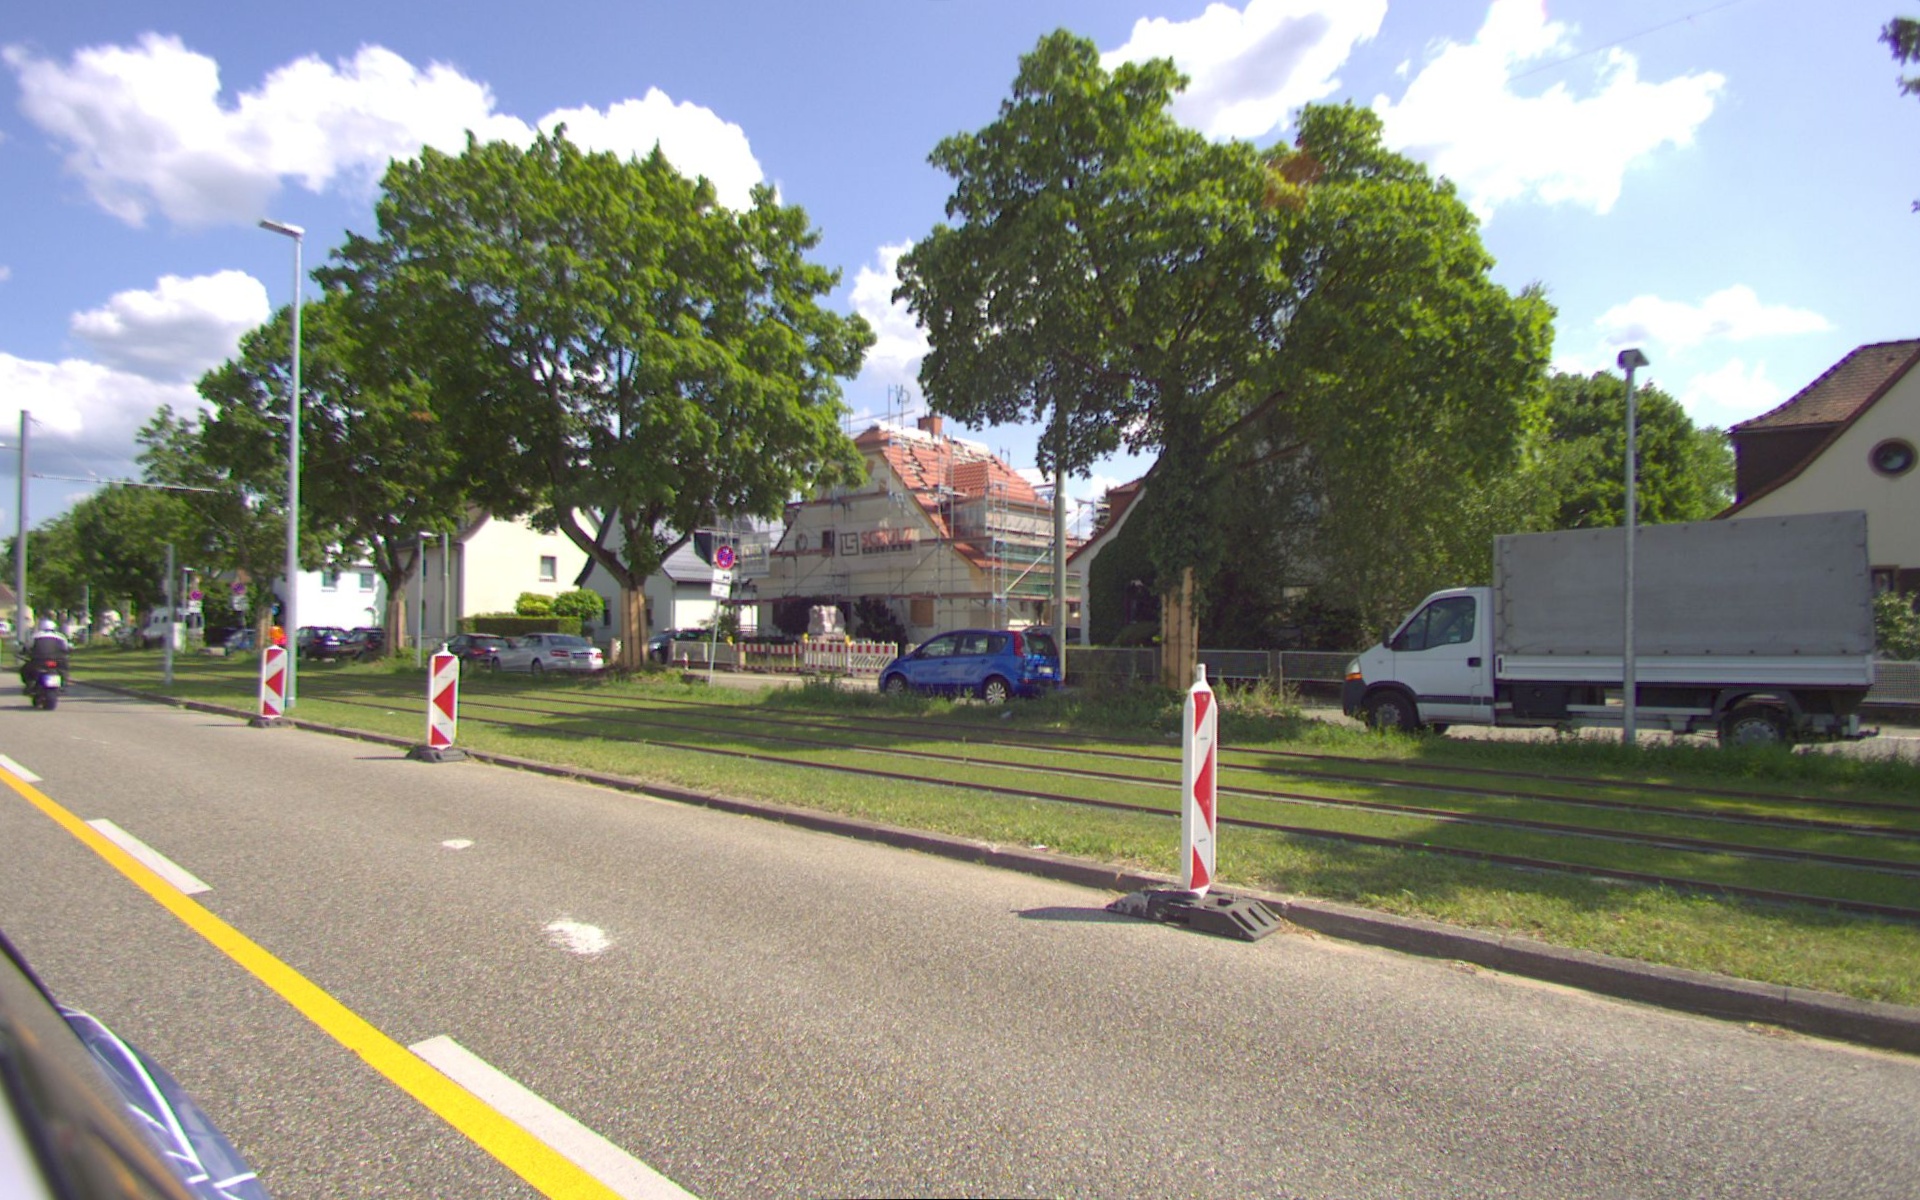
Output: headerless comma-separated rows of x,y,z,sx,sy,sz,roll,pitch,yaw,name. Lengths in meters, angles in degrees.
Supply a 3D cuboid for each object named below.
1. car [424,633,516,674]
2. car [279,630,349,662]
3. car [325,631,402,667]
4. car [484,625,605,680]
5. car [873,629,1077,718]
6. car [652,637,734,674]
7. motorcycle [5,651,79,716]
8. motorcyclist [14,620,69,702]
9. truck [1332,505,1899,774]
-17.307,1.854,35.681,3.785,1.251,1.604,-1,0,41,car
-29.363,2.057,45.961,3.998,1.311,1.615,-1,0,41,car
-24.812,1.998,42.058,3.998,1.311,1.615,-1,0,41,car
-13.130,1.603,31.848,4.522,1.524,1.685,-1,0,41,car
0.227,1.387,20.198,3.929,1.524,1.651,-1,0,41,car
-11.265,2.297,42.640,3.190,1.393,1.492,-1,0,-19,car
-16.807,1.498,18.510,2.465,1.050,0.697,-1,-2,41,motorcycle
-16.728,1.088,18.431,0.588,1.453,0.643,-1,-2,41,motorcyclist
8.371,0.440,13.497,5.948,2.826,2.340,-1,0,41,truck
